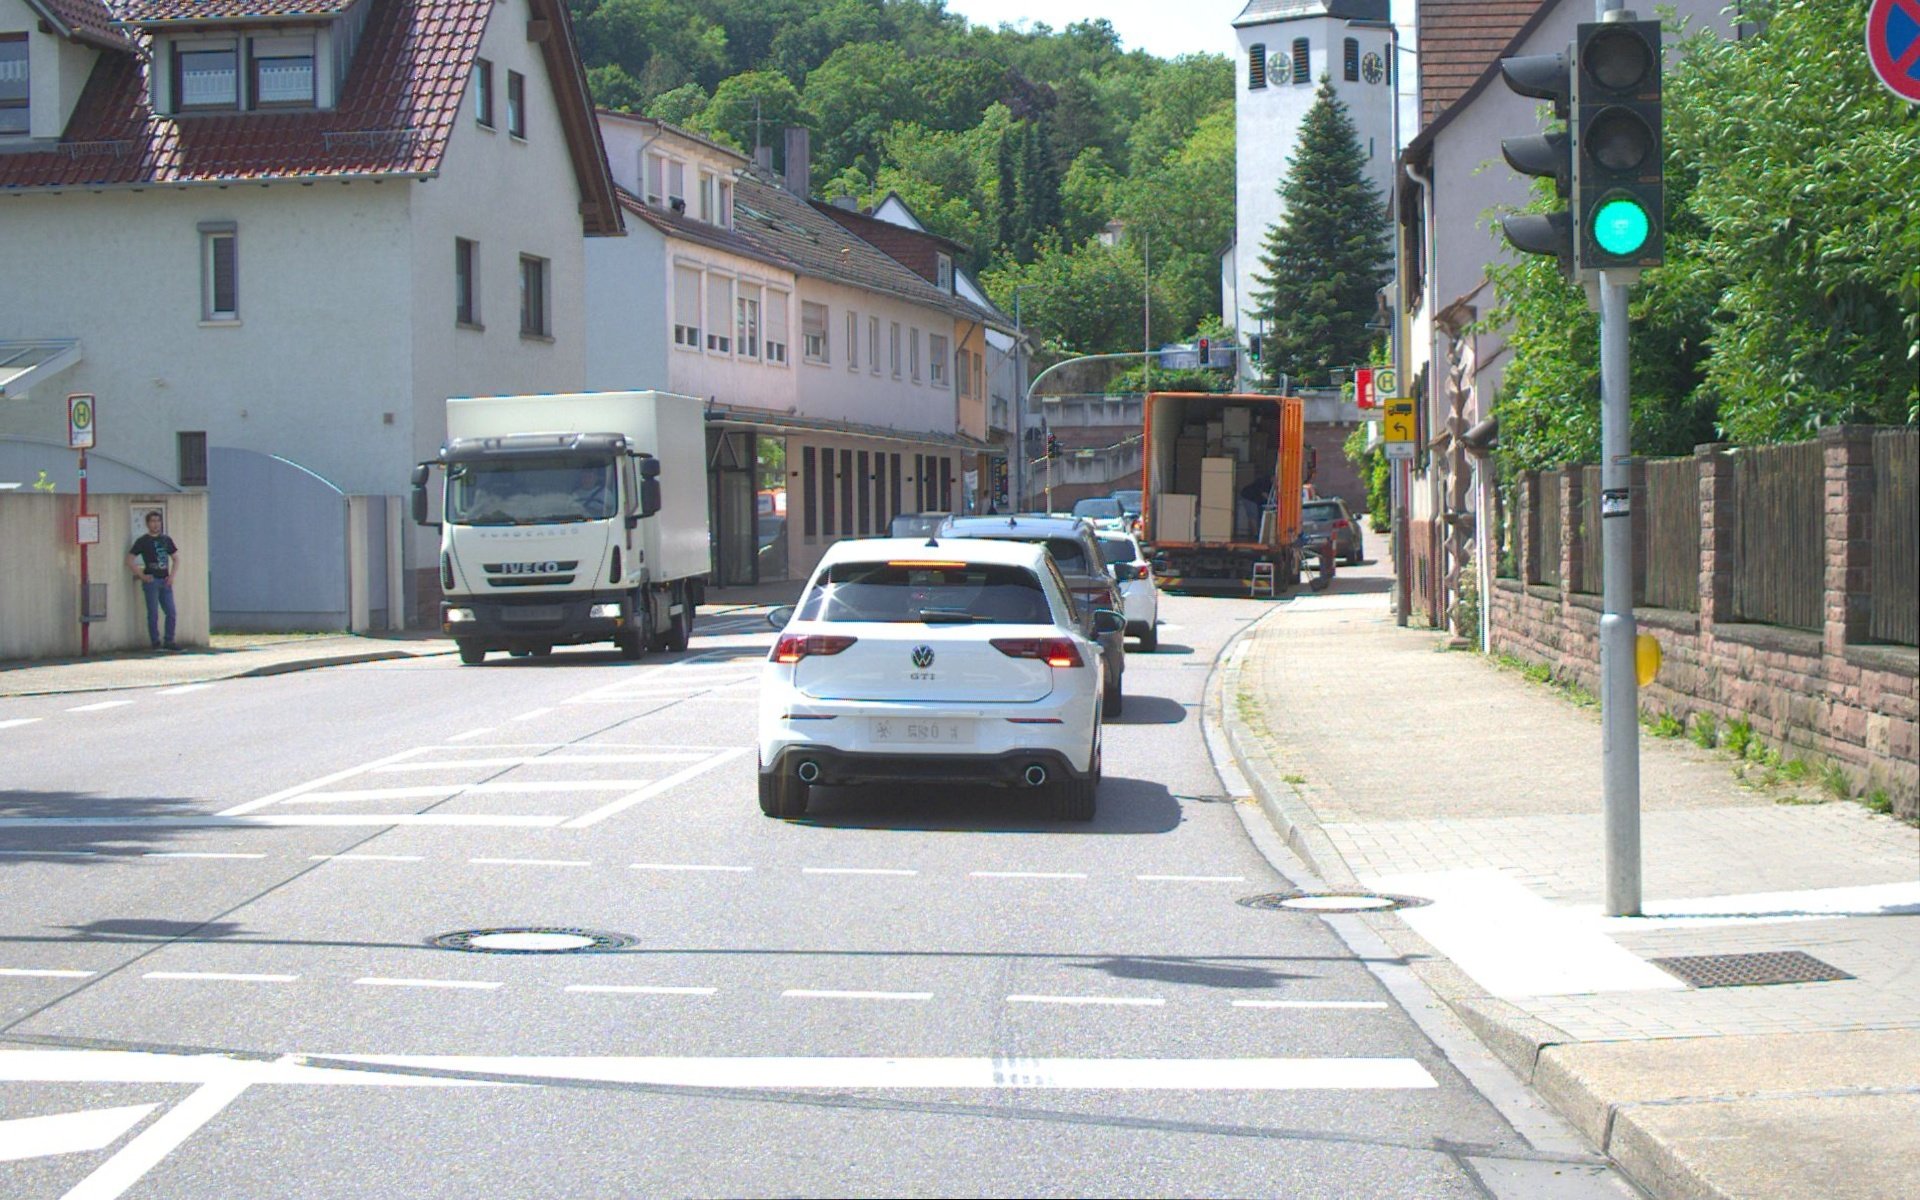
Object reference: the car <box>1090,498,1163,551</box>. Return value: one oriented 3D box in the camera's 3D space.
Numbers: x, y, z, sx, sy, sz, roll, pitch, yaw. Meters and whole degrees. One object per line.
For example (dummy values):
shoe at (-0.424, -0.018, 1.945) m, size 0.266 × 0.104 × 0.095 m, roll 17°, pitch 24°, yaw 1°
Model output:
car at (4.950, -2.228, 102.006) m, size 1.796 × 1.503 × 4.132 m, roll -1°, pitch 1°, yaw 8°

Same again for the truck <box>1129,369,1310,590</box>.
truck at (5.448, -2.387, 70.842) m, size 3.367 × 4.155 × 9.517 m, roll -2°, pitch 1°, yaw 6°

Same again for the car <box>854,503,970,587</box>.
car at (-0.953, -1.138, 70.182) m, size 1.739 × 1.645 × 3.667 m, roll 0°, pitch 1°, yaw 9°

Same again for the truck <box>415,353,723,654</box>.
truck at (-4.495, -1.091, 40.634) m, size 2.502 × 3.224 × 6.039 m, roll -2°, pitch 1°, yaw 4°

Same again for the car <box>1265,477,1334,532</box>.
car at (9.966, -2.803, 101.150) m, size 1.815 × 1.514 × 4.000 m, roll -2°, pitch 1°, yaw 3°

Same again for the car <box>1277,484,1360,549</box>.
car at (8.895, -2.055, 85.567) m, size 1.815 × 1.514 × 4.000 m, roll -2°, pitch 1°, yaw 3°

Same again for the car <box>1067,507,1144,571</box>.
car at (3.652, -1.506, 85.522) m, size 1.815 × 1.514 × 4.000 m, roll -2°, pitch 1°, yaw 3°

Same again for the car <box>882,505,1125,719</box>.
car at (0.434, 0.067, 28.834) m, size 1.815 × 1.623 × 4.000 m, roll -2°, pitch 1°, yaw 3°

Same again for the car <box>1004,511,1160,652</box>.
car at (1.567, -0.248, 42.993) m, size 1.815 × 1.623 × 4.000 m, roll -2°, pitch 1°, yaw 3°

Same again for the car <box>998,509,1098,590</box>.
car at (1.779, -1.000, 68.138) m, size 1.815 × 1.514 × 4.000 m, roll -2°, pitch 1°, yaw 3°

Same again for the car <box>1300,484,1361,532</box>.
car at (12.501, -3.089, 116.279) m, size 1.815 × 1.514 × 4.000 m, roll -2°, pitch 1°, yaw 3°

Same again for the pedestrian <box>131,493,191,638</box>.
pedestrian at (-9.734, -0.425, 41.889) m, size 0.434 × 1.758 × 0.556 m, roll 0°, pitch 1°, yaw 22°

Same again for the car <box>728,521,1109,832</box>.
car at (-0.121, 0.348, 18.979) m, size 1.815 × 1.514 × 4.000 m, roll 1°, pitch 1°, yaw 3°
